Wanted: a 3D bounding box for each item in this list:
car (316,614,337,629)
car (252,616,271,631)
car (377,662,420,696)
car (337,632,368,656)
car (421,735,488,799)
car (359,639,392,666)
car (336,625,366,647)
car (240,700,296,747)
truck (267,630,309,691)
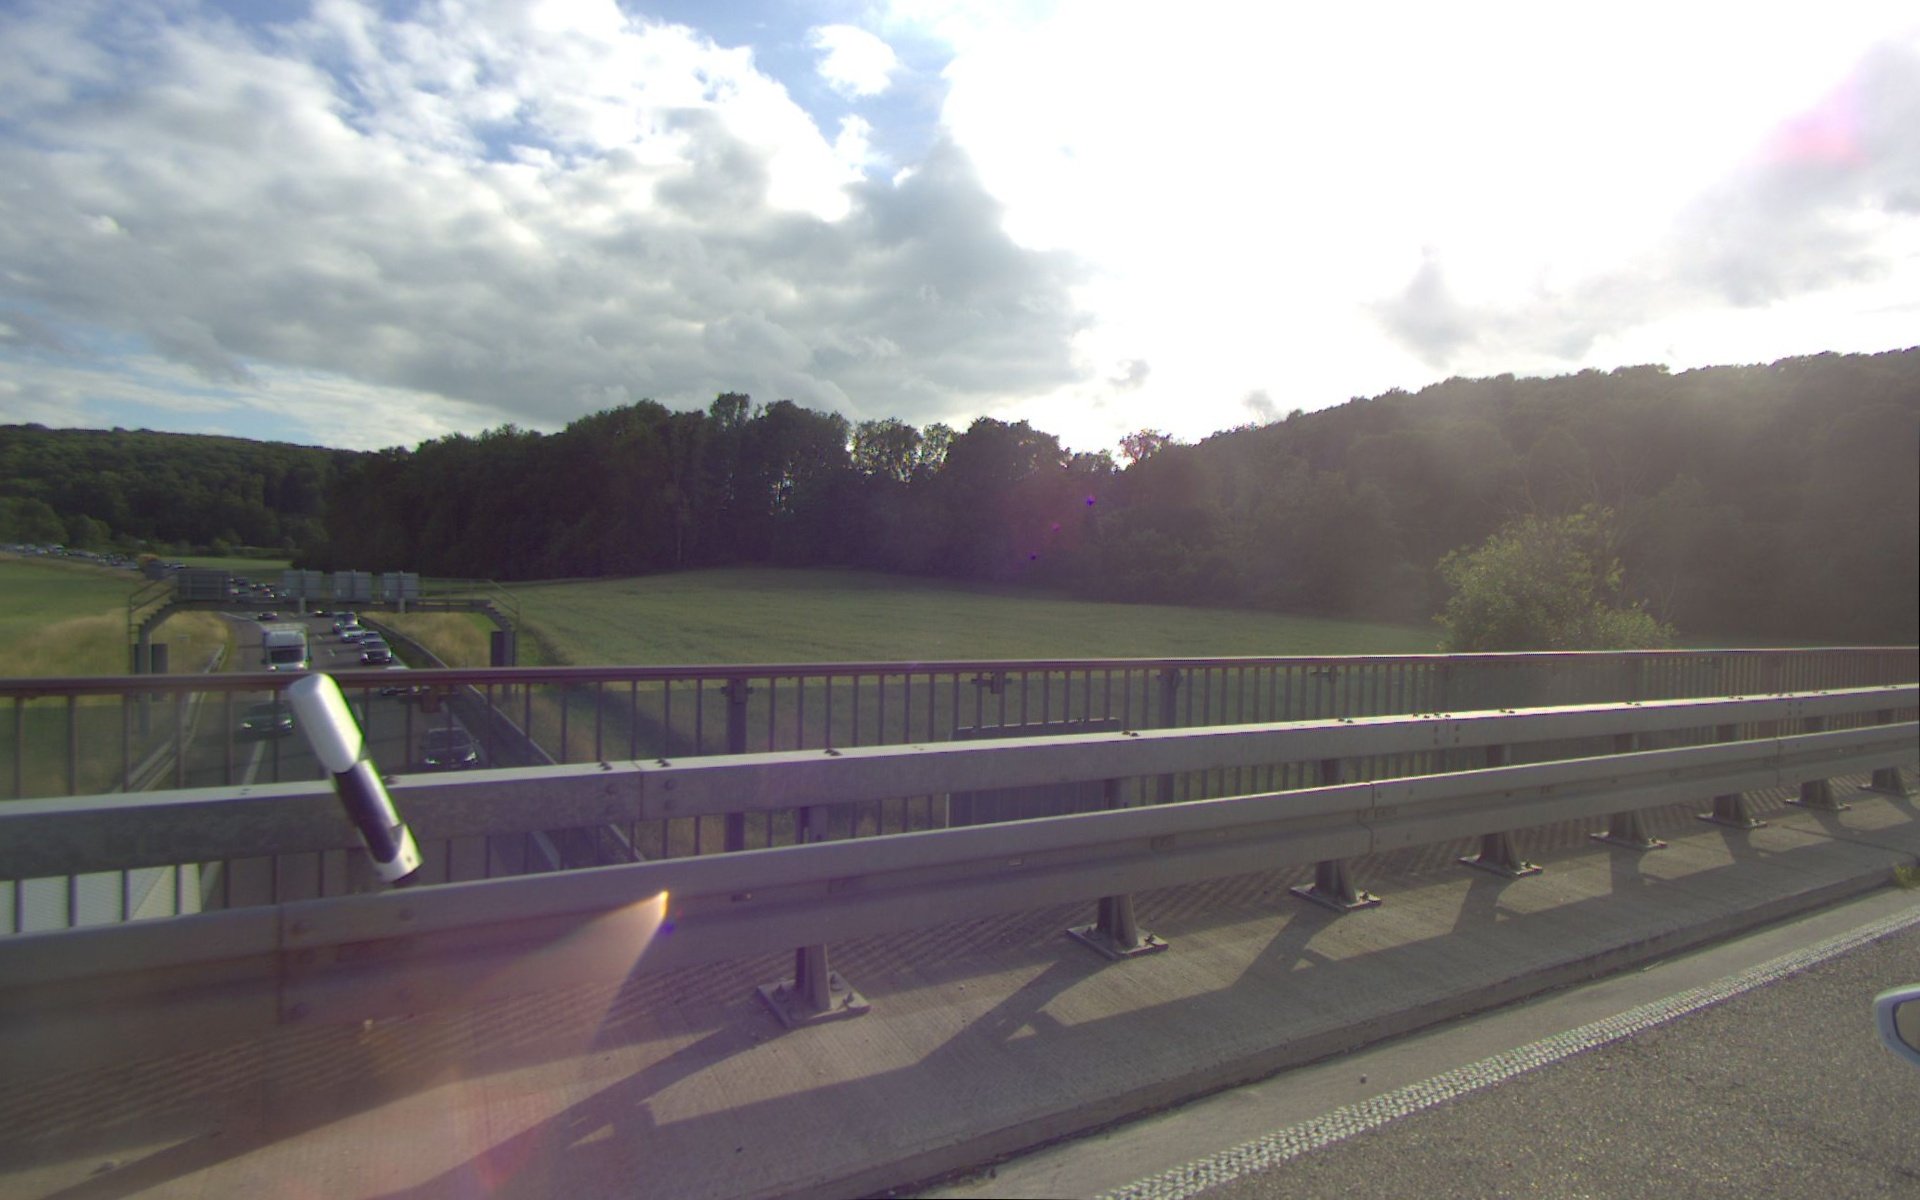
[{"bbox_3d":[-76.364,2.576,121.052,1.785,1.608,3.959,2,1,-36],"label":"car"},{"bbox_3d":[-81.508,2.751,117.233,1.810,1.462,3.960,1,1,-35],"label":"car"},{"bbox_3d":[-32.086,4.478,57.362,1.809,1.672,3.963,1,-2,-33],"label":"car"},{"bbox_3d":[-54.520,3.928,90.089,1.982,1.750,3.959,6,-2,-36],"label":"car"},{"bbox_3d":[-18.616,6.060,36.909,1.804,1.555,3.964,2,1,-32],"label":"car"},{"bbox_3d":[-42.801,3.834,73.499,1.809,1.672,3.962,1,1,-34],"label":"car"},{"bbox_3d":[-58.538,3.444,96.536,1.982,1.750,3.959,6,-2,-36],"label":"car"},{"bbox_3d":[-31.371,5.548,45.623,1.970,1.736,3.962,2,-2,-34],"label":"car"},{"bbox_3d":[-44.327,3.874,66.159,2.102,3.451,8.412,1,0,-35],"label":"truck"}]
